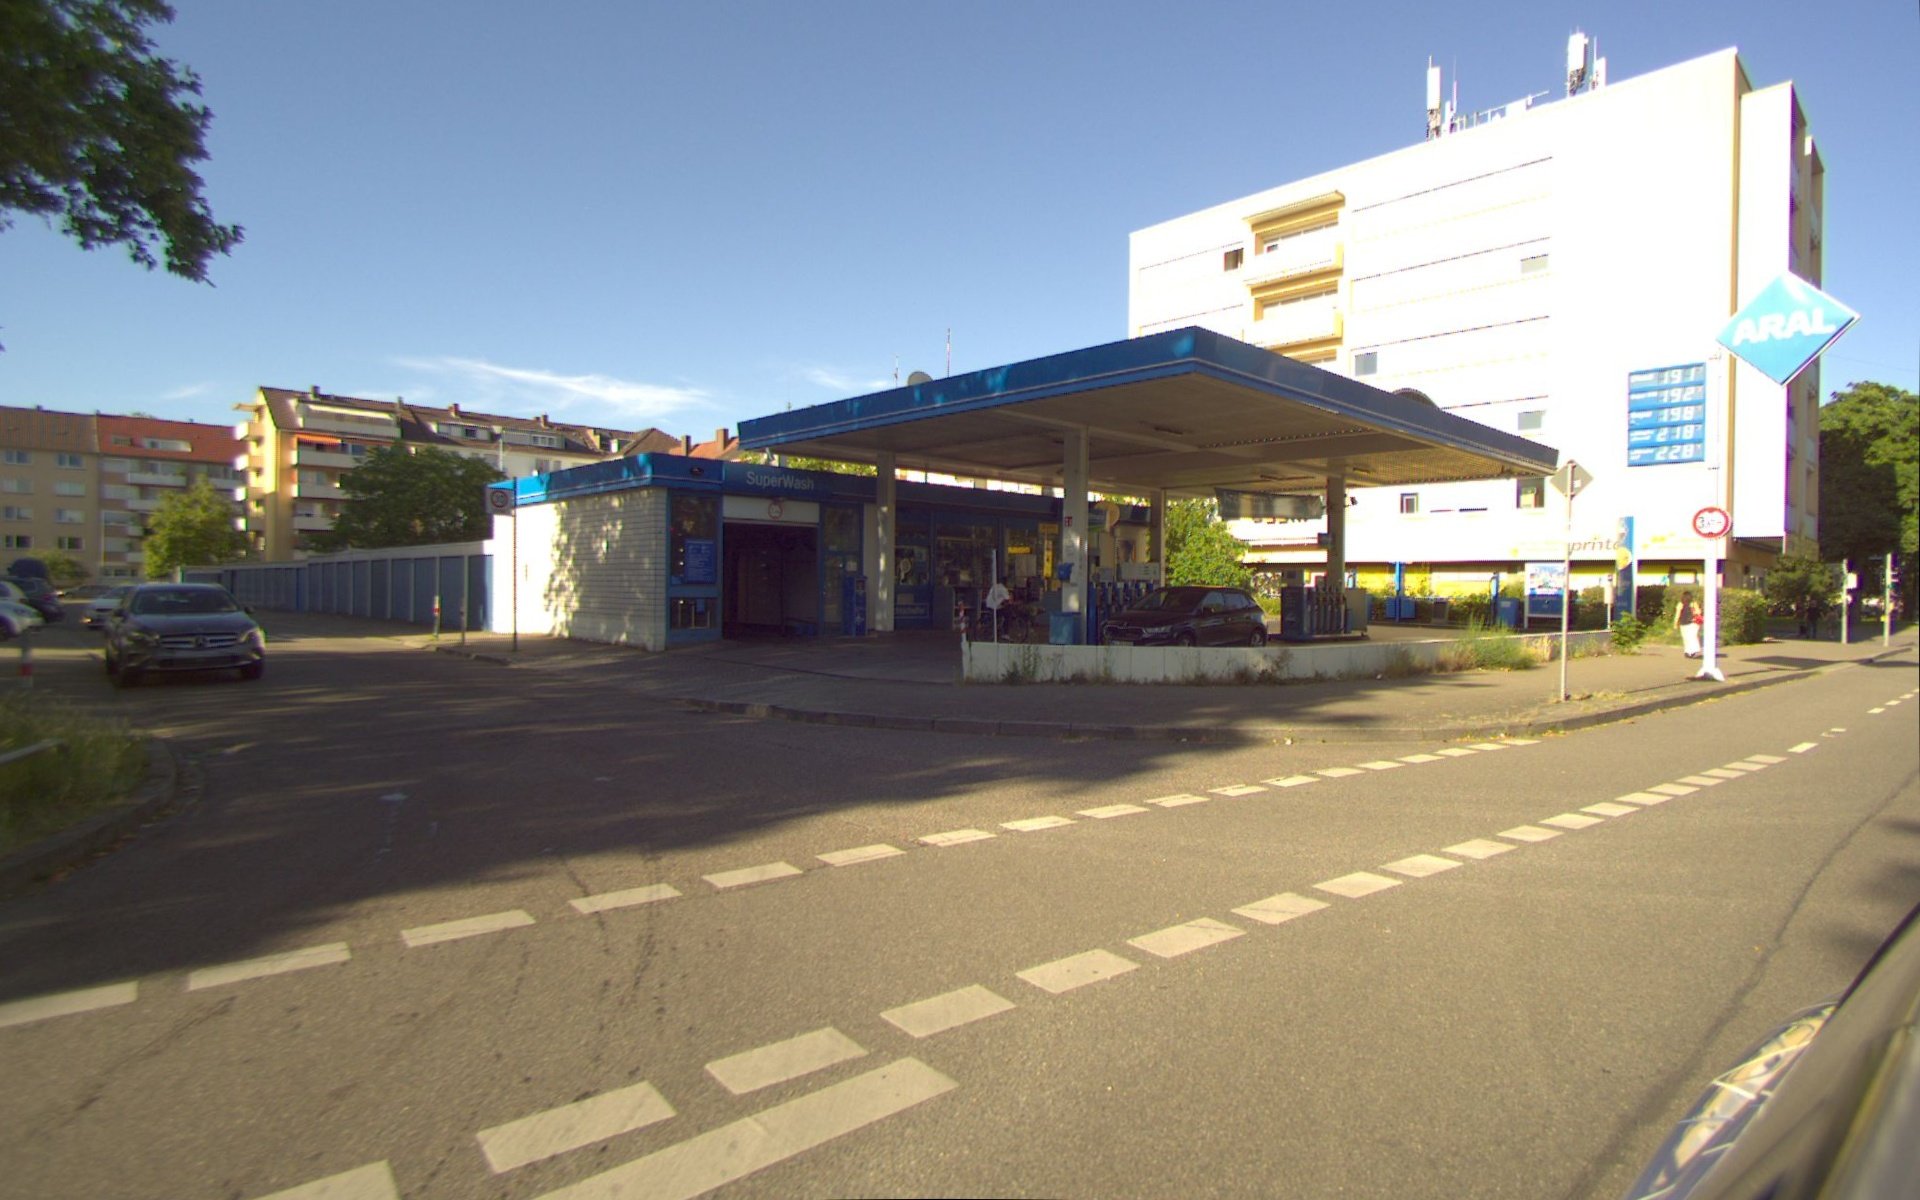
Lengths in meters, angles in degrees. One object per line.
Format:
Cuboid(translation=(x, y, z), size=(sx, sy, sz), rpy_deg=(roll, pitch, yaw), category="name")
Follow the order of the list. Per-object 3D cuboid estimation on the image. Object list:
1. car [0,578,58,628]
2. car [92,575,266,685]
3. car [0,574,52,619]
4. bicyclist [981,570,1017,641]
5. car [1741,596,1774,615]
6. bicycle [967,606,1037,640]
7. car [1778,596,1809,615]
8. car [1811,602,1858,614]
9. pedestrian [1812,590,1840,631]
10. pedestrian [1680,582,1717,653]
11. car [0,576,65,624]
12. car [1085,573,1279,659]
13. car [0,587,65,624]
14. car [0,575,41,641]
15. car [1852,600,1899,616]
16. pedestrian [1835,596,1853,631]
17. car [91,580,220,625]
Cuboid(translation=(-31.359, 0.076, 32.028), size=(4.131, 1.577, 1.980), rpy_deg=(0, 1, -41), category="car")
Cuboid(translation=(-12.876, 0.399, 16.589), size=(1.950, 1.550, 4.196), rpy_deg=(0, 1, -42), category="car")
Cuboid(translation=(-34.629, -0.123, 35.467), size=(4.131, 1.577, 1.980), rpy_deg=(0, 1, -41), category="car")
Cuboid(translation=(0.873, 0.115, 22.610), size=(0.618, 1.539, 0.539), rpy_deg=(0, 0, -42), category="bicyclist")
Cuboid(translation=(77.212, 0.497, 98.069), size=(1.985, 1.720, 4.228), rpy_deg=(2, 1, 32), category="car")
Cuboid(translation=(0.963, 0.503, 22.697), size=(1.679, 0.724, 0.539), rpy_deg=(0, 0, -43), category="bicycle")
Cuboid(translation=(78.337, 0.488, 95.154), size=(1.987, 1.720, 4.223), rpy_deg=(0, 1, 35), category="car")
Cuboid(translation=(79.057, 0.711, 91.480), size=(4.193, 1.080, 2.001), rpy_deg=(0, 1, -32), category="car")
Cuboid(translation=(40.368, 0.472, 47.176), size=(0.784, 1.850, 1.022), rpy_deg=(2, 2, 32), category="pedestrian")
Cuboid(translation=(18.338, 0.425, 25.136), size=(0.542, 1.723, 0.606), rpy_deg=(0, 0, -37), category="pedestrian")
Cuboid(translation=(-32.636, -0.021, 33.762), size=(4.131, 1.577, 1.980), rpy_deg=(0, 1, -41), category="car")
Cuboid(translation=(4.304, 0.256, 19.308), size=(3.938, 1.481, 1.722), rpy_deg=(0, 0, -43), category="car")
Cuboid(translation=(-38.210, 0.187, 41.652), size=(3.984, 1.441, 1.622), rpy_deg=(1, 1, 42), category="car")
Cuboid(translation=(-23.757, 0.187, 23.156), size=(4.044, 1.522, 1.872), rpy_deg=(-1, 1, -43), category="car")
Cuboid(translation=(80.559, 0.678, 89.015), size=(4.193, 1.340, 2.001), rpy_deg=(0, 1, -32), category="car")
Cuboid(translation=(41.027, 0.613, 46.993), size=(0.501, 1.565, 0.514), rpy_deg=(2, 2, 32), category="pedestrian")
Cuboid(translation=(-27.631, 0.061, 34.894), size=(1.879, 1.441, 3.555), rpy_deg=(0, 1, -6), category="car")
